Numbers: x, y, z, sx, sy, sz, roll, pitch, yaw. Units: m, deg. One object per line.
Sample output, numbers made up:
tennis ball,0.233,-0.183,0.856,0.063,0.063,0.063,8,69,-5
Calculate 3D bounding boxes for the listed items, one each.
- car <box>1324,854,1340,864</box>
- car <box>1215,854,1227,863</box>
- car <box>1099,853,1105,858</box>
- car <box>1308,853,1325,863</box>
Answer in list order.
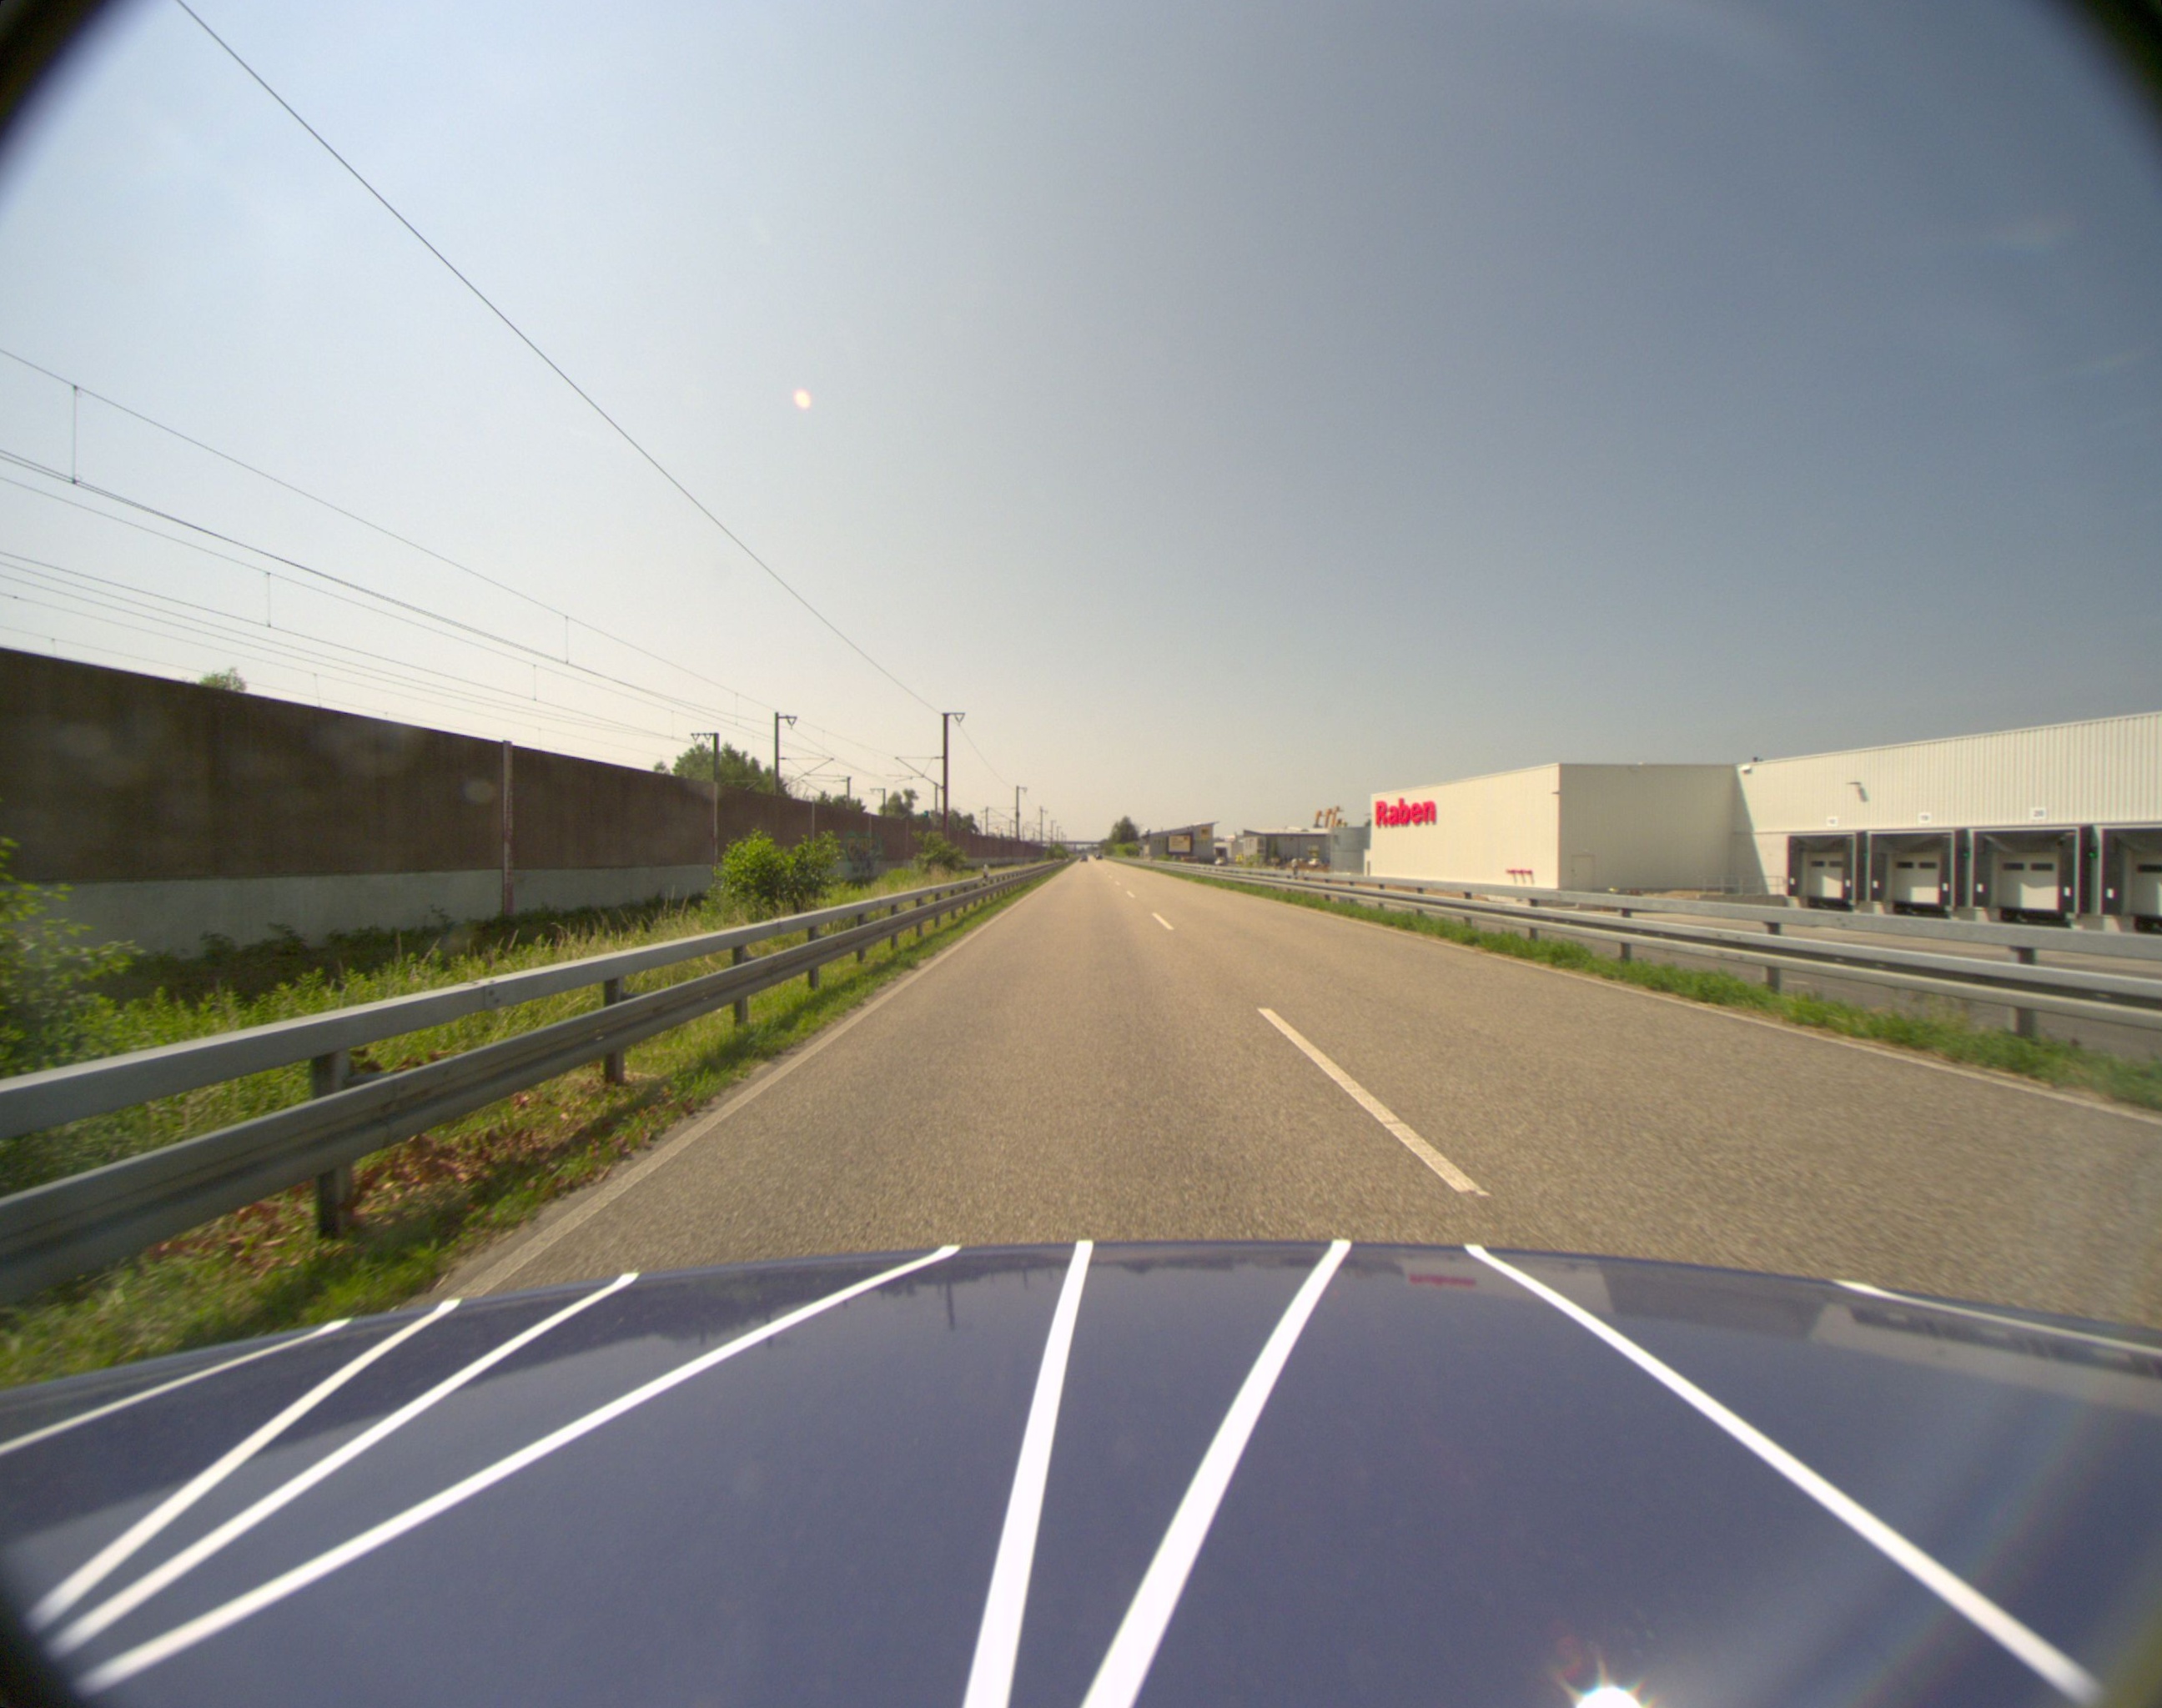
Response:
car,48.931,0.900,148.002,1.834,1.889,3.689,2,0,1
car,27.034,0.881,146.639,1.555,1.664,3.310,0,1,-5
car,5.771,0.416,207.687,1.544,1.427,3.654,-1,0,0
car,45.658,0.745,147.297,1.999,2.002,3.999,0,1,-1
